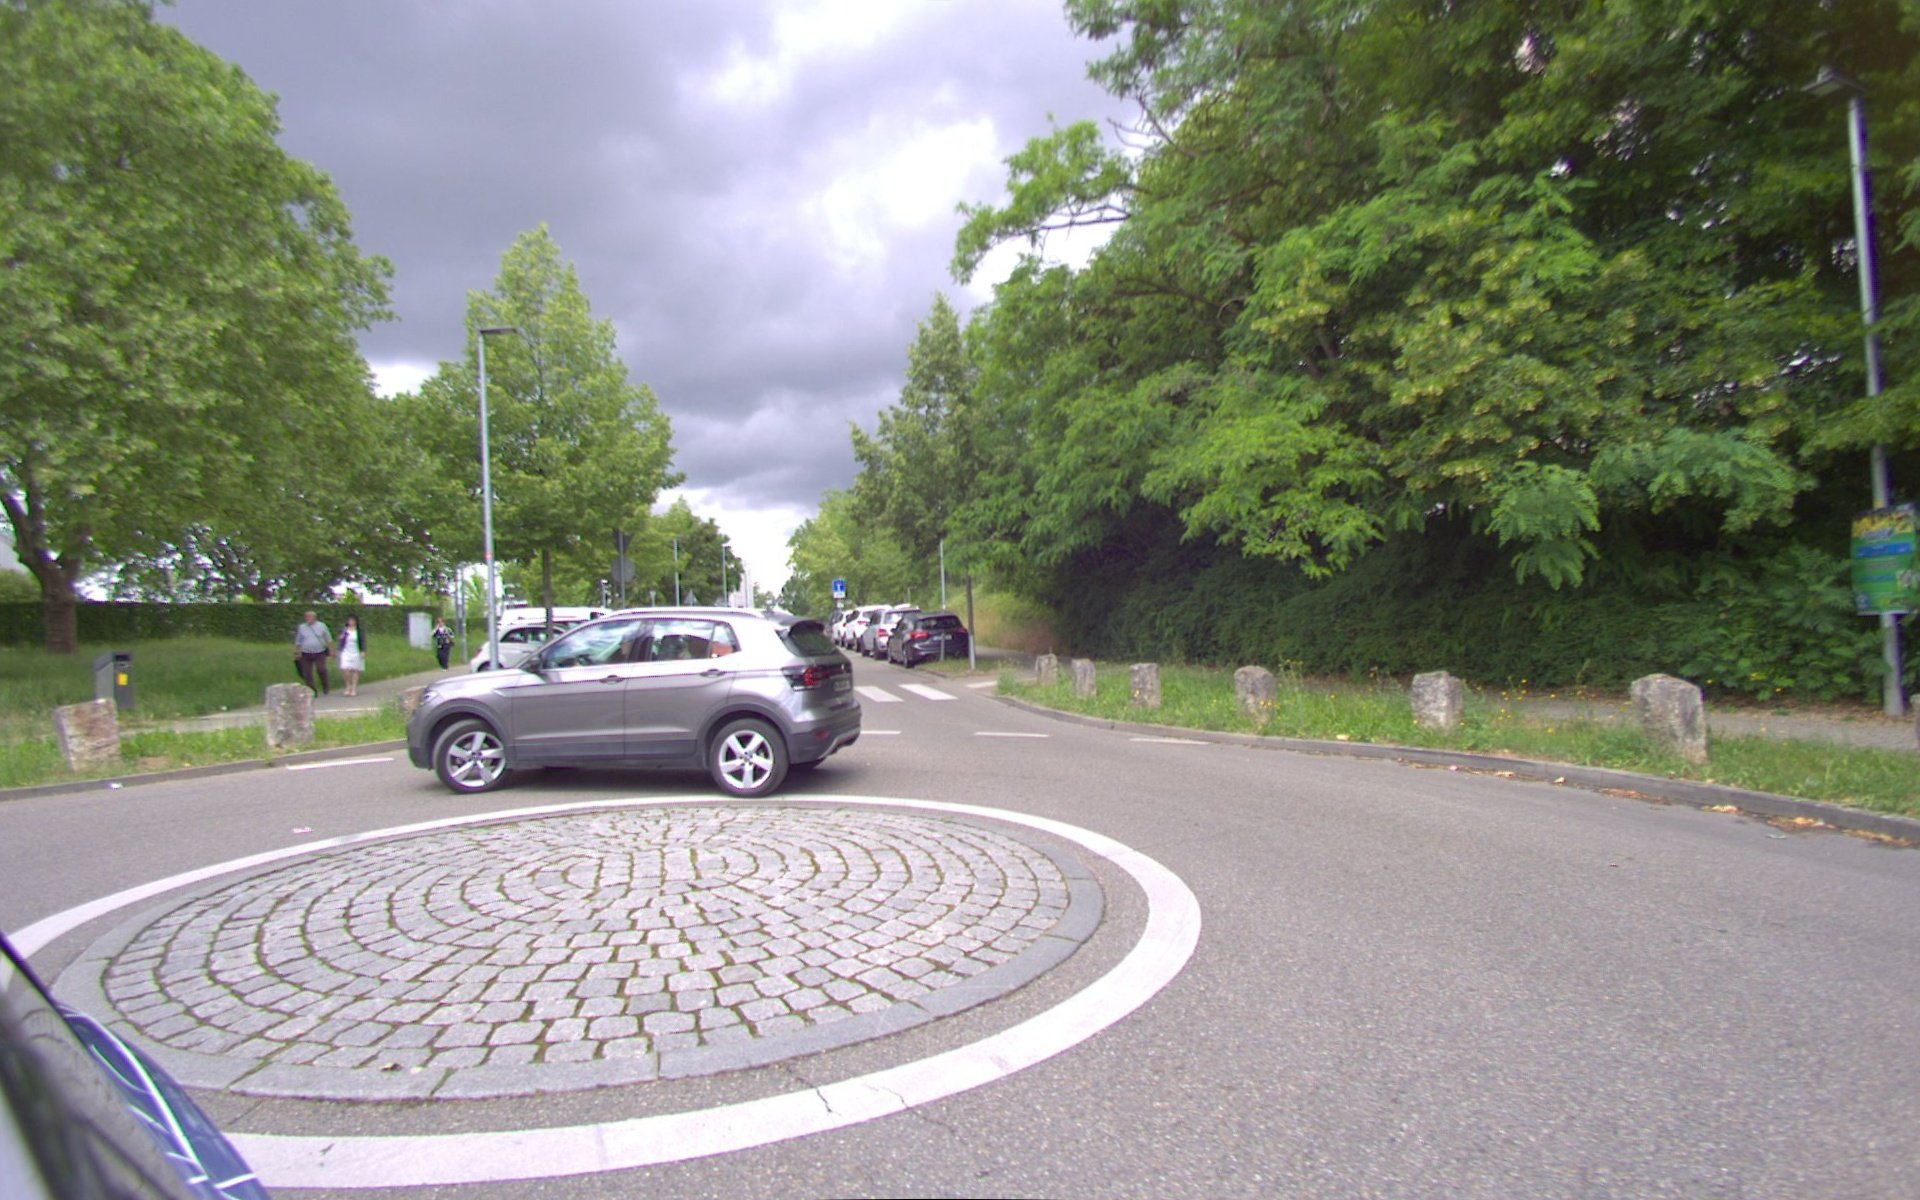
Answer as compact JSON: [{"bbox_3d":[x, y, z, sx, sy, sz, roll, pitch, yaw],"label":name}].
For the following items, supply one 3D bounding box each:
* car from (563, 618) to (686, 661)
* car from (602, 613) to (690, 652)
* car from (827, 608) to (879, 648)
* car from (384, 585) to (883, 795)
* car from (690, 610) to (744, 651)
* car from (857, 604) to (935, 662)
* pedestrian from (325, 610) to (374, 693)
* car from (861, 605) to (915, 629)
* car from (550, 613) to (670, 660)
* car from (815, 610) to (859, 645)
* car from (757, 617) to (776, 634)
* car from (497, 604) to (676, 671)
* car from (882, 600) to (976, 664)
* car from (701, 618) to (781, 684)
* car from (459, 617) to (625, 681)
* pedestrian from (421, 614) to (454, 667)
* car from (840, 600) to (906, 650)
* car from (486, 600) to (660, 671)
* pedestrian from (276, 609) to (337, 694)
[{"bbox_3d":[-13.303,1.546,40.381,4.512,1.503,1.957,-1,-1,-15],"label":"car"},{"bbox_3d":[-14.124,1.442,45.679,3.622,1.659,1.856,-1,-1,-10],"label":"car"},{"bbox_3d":[-4.794,1.228,44.744,1.667,1.522,4.241,-5,0,-13],"label":"car"},{"bbox_3d":[-2.839,0.743,9.123,3.967,1.630,1.716,-1,-1,12],"label":"car"},{"bbox_3d":[-9.900,1.220,41.454,1.732,1.527,4.007,-3,-1,-8],"label":"car"},{"bbox_3d":[-2.197,1.046,33.530,1.775,1.627,4.489,-5,1,-13],"label":"car"},{"bbox_3d":[-12.594,1.051,20.900,0.679,1.669,0.601,-2,-1,-14],"label":"pedestrian"},{"bbox_3d":[-5.570,1.319,78.098,3.988,1.652,1.654,-3,-1,33],"label":"car"},{"bbox_3d":[-12.027,1.248,35.005,3.773,1.531,1.916,0,-1,-13],"label":"car"},{"bbox_3d":[-6.112,1.348,49.900,1.668,1.498,3.962,-5,0,-12],"label":"car"},{"bbox_3d":[-20.572,2.723,107.811,1.732,1.629,4.007,-3,-1,-8],"label":"car"},{"bbox_3d":[-10.790,1.076,29.573,4.711,1.845,1.847,0,-1,-11],"label":"car"},{"bbox_3d":[-0.960,0.879,28.273,1.667,1.476,4.467,-5,0,-13],"label":"car"},{"bbox_3d":[-5.745,1.365,26.896,1.732,1.527,4.006,-3,-3,-8],"label":"car"},{"bbox_3d":[-10.038,1.160,24.561,3.464,1.472,1.743,0,-2,-12],"label":"car"},{"bbox_3d":[-15.401,1.193,29.853,0.667,1.531,0.708,-2,-1,-15],"label":"pedestrian"},{"bbox_3d":[-3.445,0.982,39.388,1.783,1.677,4.448,-5,0,-13],"label":"car"},{"bbox_3d":[-10.185,0.932,26.910,4.095,1.614,1.743,-3,-1,-14],"label":"car"},{"bbox_3d":[-13.373,1.040,20.716,0.857,1.669,0.594,-2,-1,-14],"label":"pedestrian"}]
